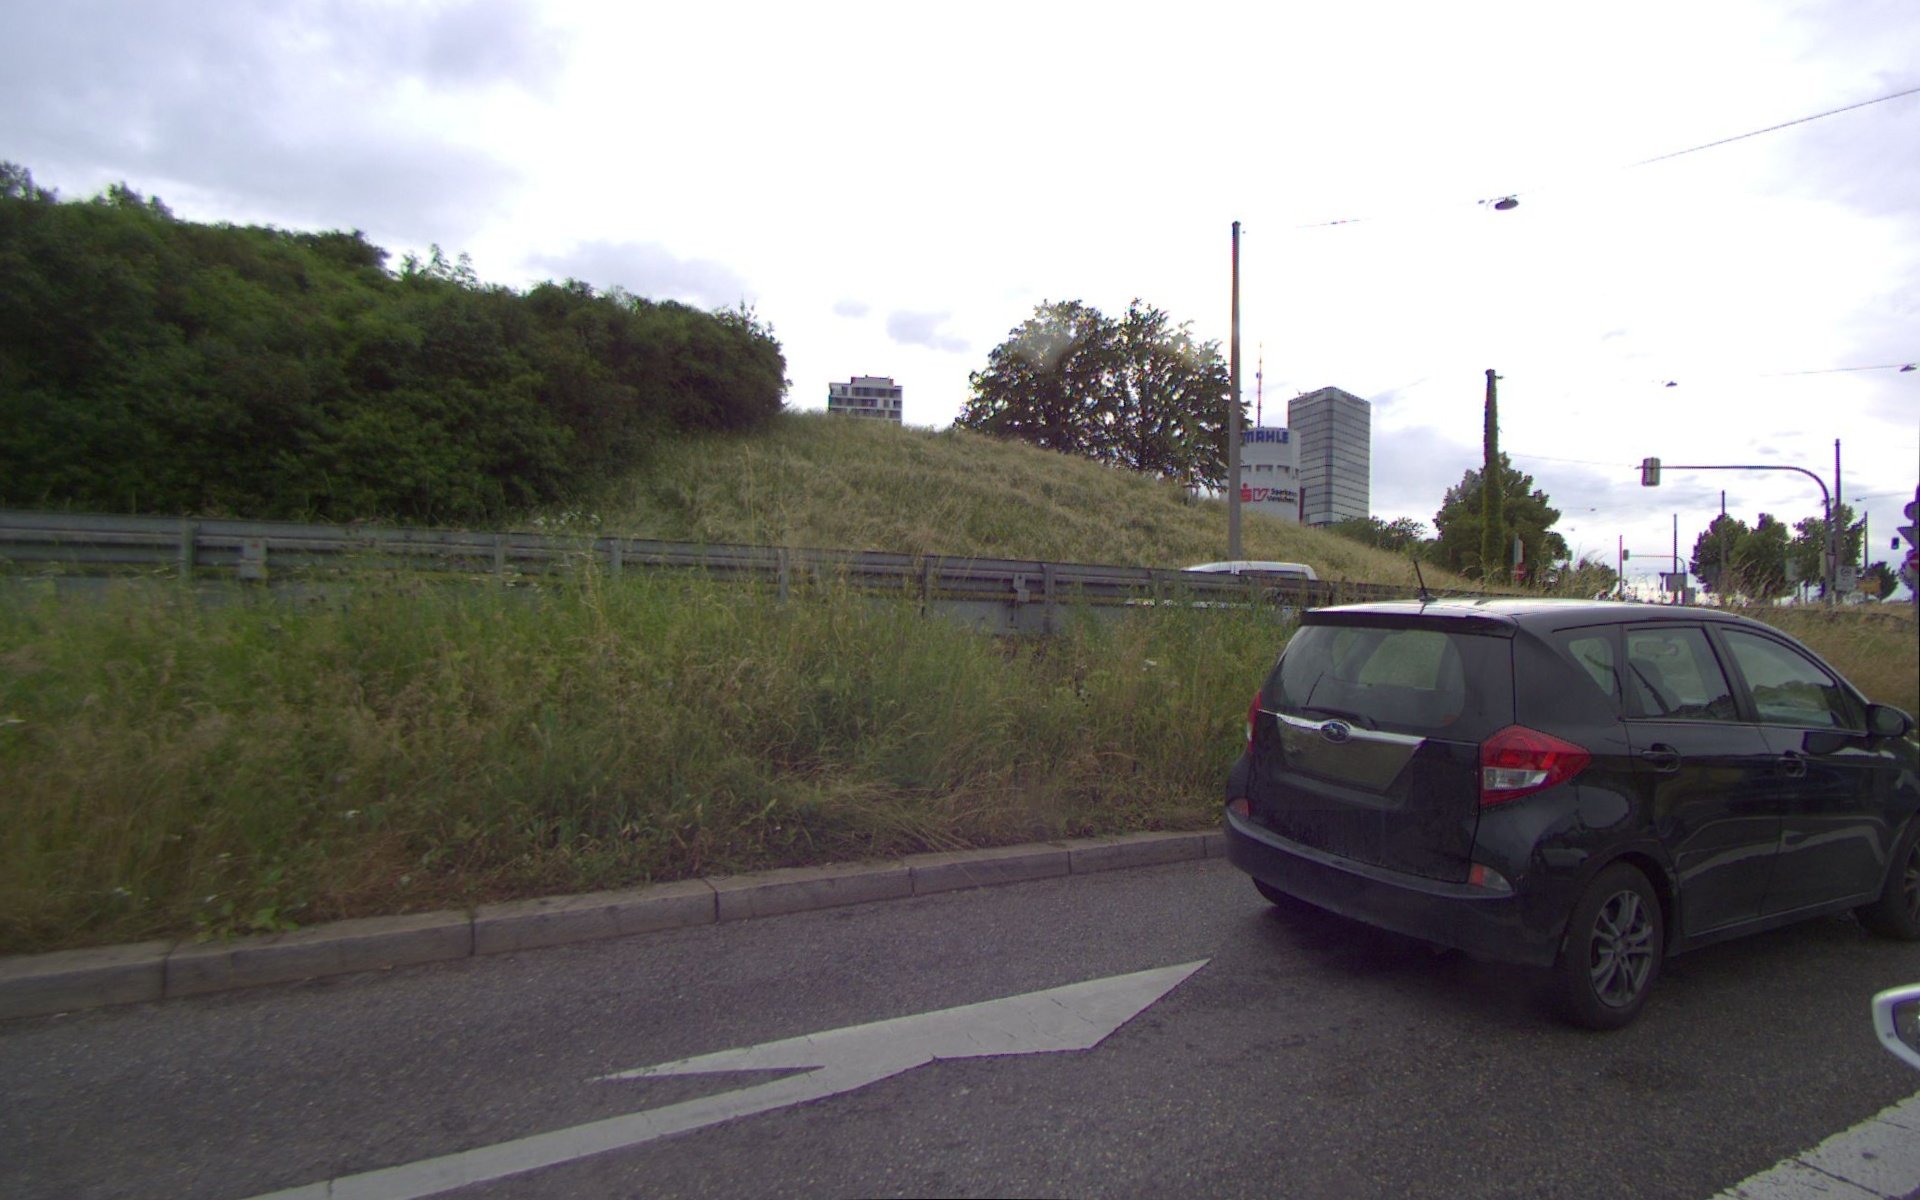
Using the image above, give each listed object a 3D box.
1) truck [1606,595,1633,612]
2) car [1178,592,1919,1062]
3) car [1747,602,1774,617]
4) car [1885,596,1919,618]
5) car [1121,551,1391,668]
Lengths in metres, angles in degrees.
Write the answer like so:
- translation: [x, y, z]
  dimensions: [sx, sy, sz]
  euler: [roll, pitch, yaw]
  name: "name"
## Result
- translation: [130.910, 0.580, 199.473]
  dimensions: [3.205, 3.116, 6.173]
  euler: [4, 2, 22]
  name: "truck"
- translation: [3.061, 0.784, 4.865]
  dimensions: [3.731, 1.524, 1.635]
  euler: [2, 0, -28]
  name: "car"
- translation: [97.562, 1.132, 122.455]
  dimensions: [1.965, 1.659, 4.411]
  euler: [4, 2, 31]
  name: "car"
- translation: [74.614, 0.558, 78.644]
  dimensions: [1.963, 1.639, 4.844]
  euler: [2, 1, 28]
  name: "car"
- translation: [5.323, 0.112, 17.943]
  dimensions: [4.635, 1.875, 1.810]
  euler: [-1, 1, -26]
  name: "car"
